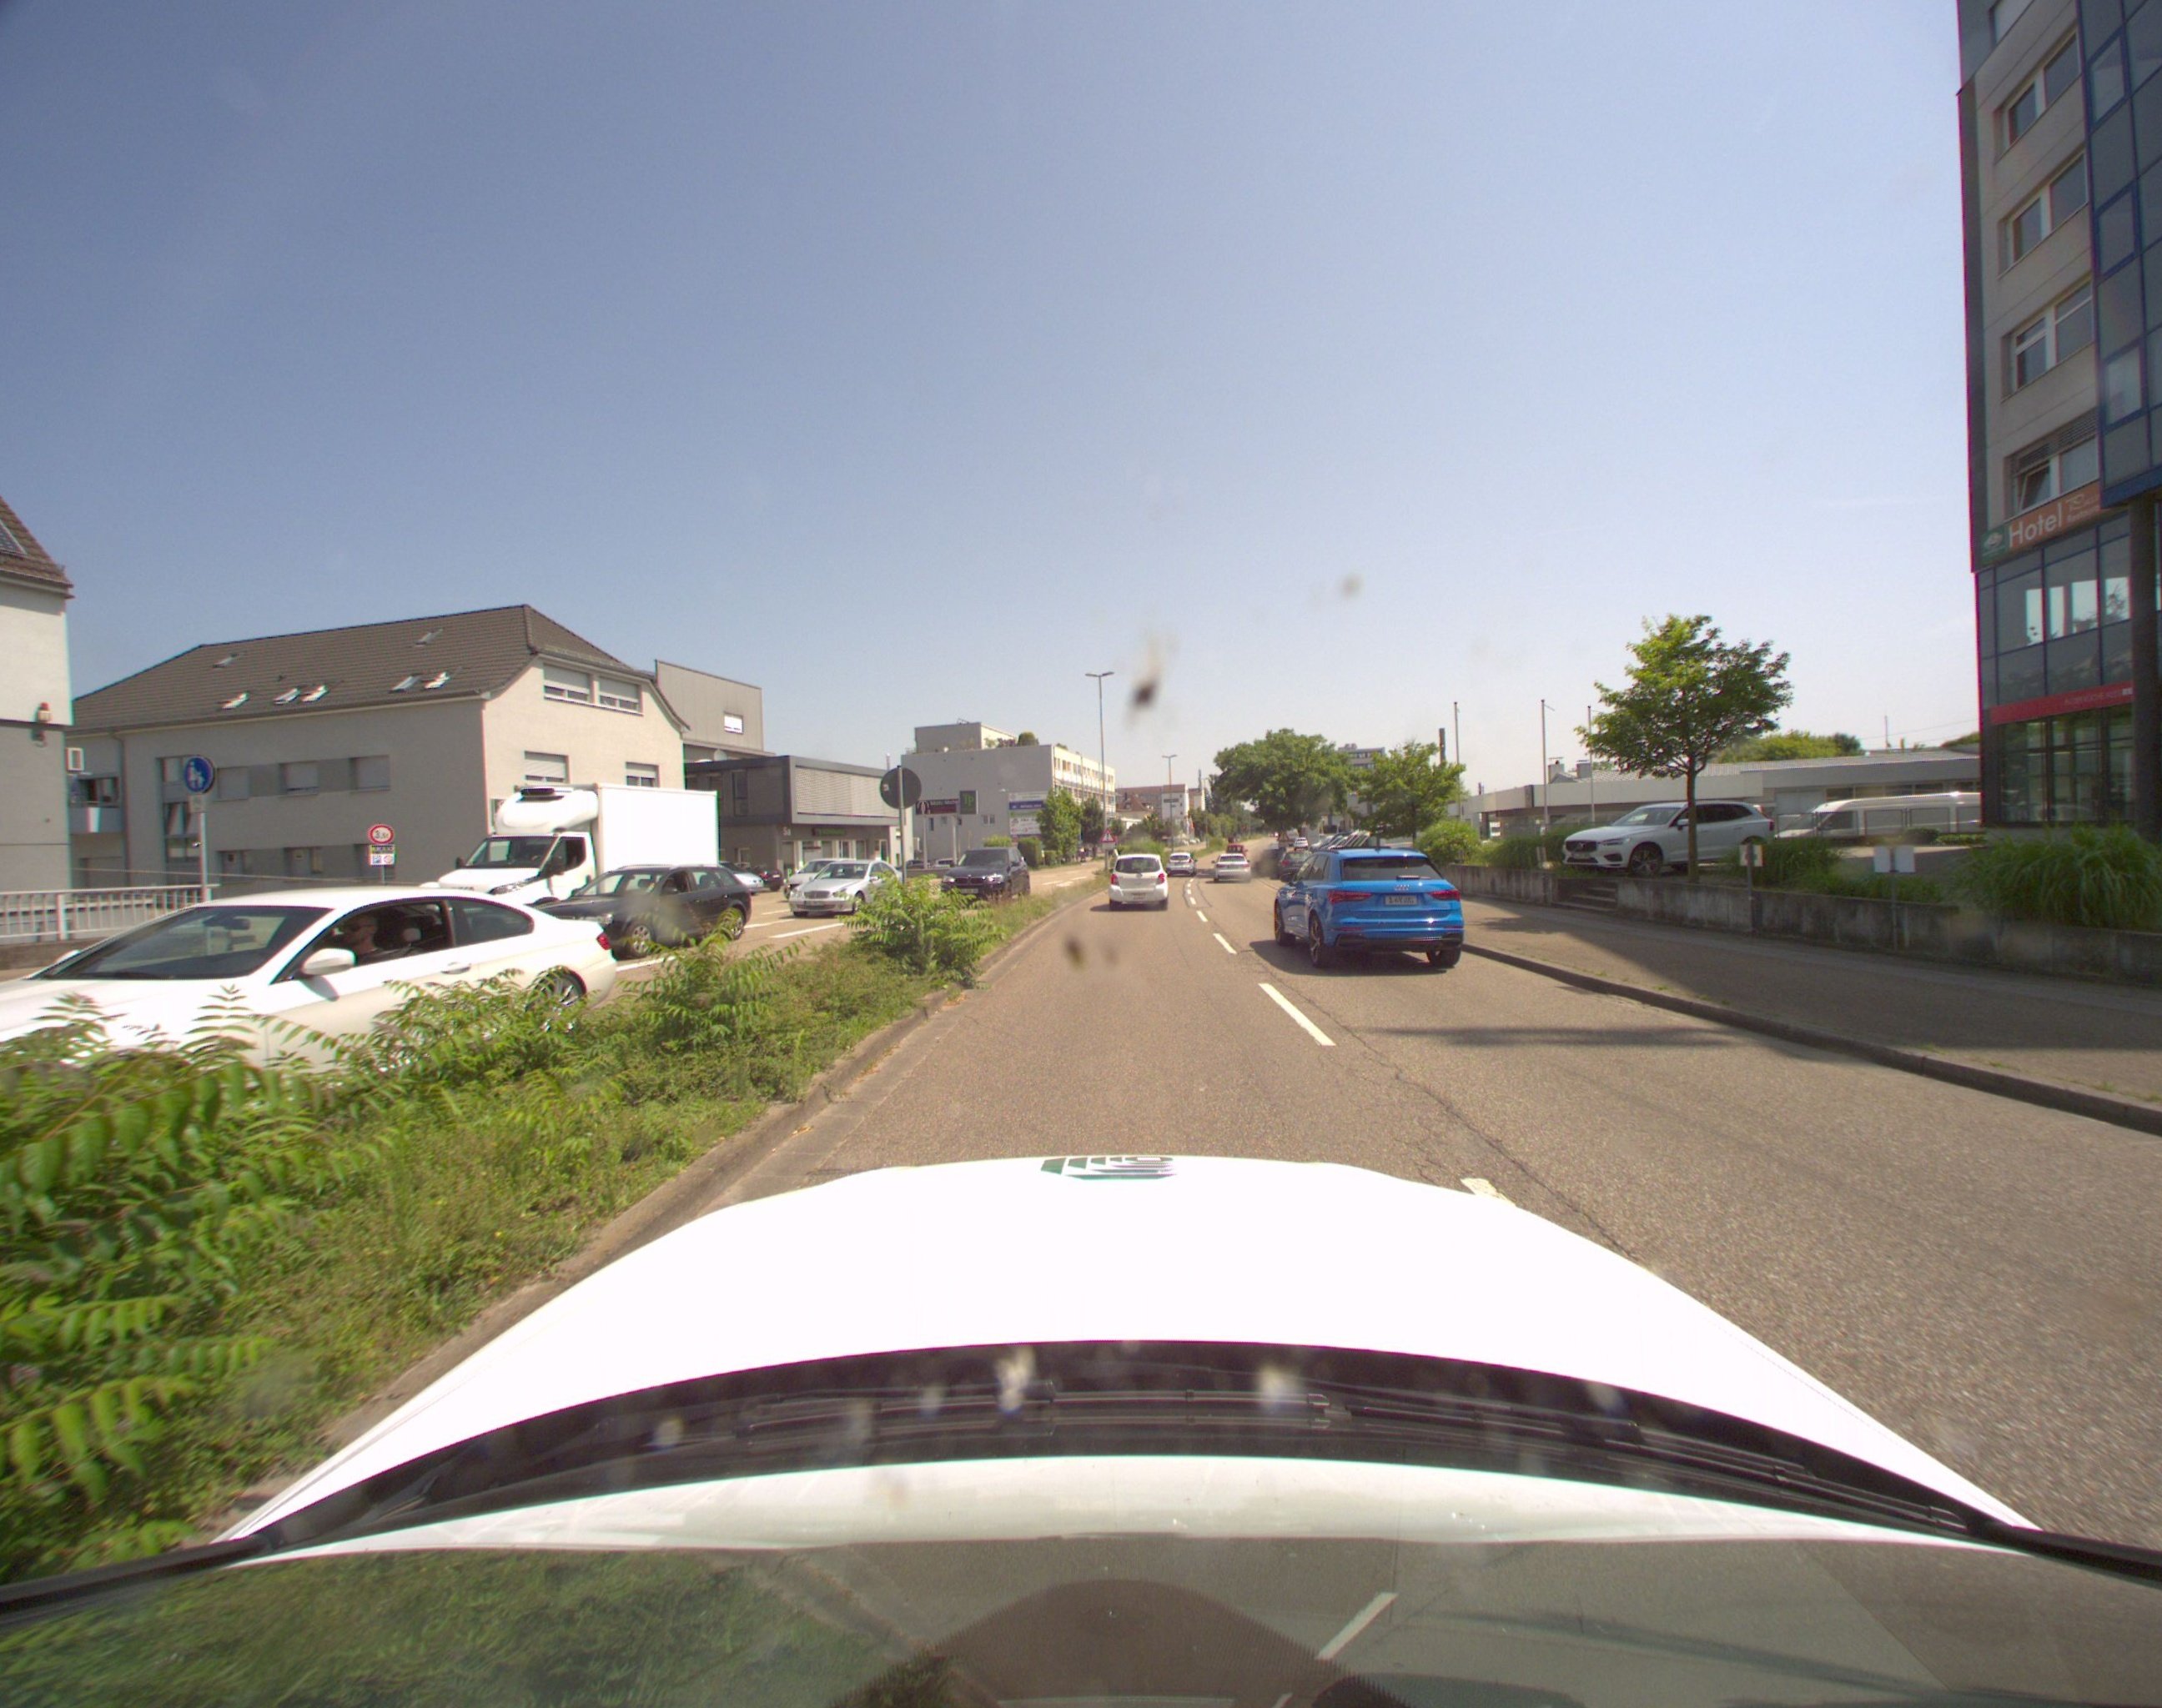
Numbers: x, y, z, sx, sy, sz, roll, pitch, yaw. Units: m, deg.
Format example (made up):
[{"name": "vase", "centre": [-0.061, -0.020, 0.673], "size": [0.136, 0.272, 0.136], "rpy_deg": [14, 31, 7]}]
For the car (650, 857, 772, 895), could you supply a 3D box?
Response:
[{"name": "car", "centre": [-16.315, 0.949, 36.012], "size": [4.583, 1.496, 1.755], "rpy_deg": [2, 1, 5]}]

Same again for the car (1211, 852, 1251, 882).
[{"name": "car", "centre": [7.390, 0.613, 40.396], "size": [1.659, 1.399, 3.799], "rpy_deg": [-1, 0, 6]}]

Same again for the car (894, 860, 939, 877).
[{"name": "car", "centre": [-16.601, 1.451, 82.404], "size": [3.949, 1.467, 1.969], "rpy_deg": [-2, 1, 8]}]

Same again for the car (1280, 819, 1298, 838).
[{"name": "car", "centre": [35.143, -4.331, 137.767], "size": [2.120, 2.839, 7.331], "rpy_deg": [-8, -1, 10]}]

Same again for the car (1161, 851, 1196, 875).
[{"name": "car", "centre": [5.960, 0.543, 50.355], "size": [1.823, 1.450, 4.002], "rpy_deg": [-1, 0, 2]}]

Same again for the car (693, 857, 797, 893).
[{"name": "car", "centre": [-15.888, 0.987, 38.598], "size": [4.031, 1.521, 2.006], "rpy_deg": [-2, 0, 10]}]

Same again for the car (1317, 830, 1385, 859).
[{"name": "car", "centre": [24.607, -0.838, 74.513], "size": [5.799, 2.524, 2.214], "rpy_deg": [-1, -1, 16]}]

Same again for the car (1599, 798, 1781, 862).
[{"name": "car", "centre": [25.820, -0.946, 34.810], "size": [5.840, 2.528, 2.129], "rpy_deg": [-1, -1, 16]}]

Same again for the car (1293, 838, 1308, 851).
[{"name": "car", "centre": [28.695, -1.232, 106.535], "size": [1.655, 1.596, 4.630], "rpy_deg": [-3, 1, 13]}]

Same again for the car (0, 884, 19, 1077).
[{"name": "car", "centre": [-8.768, 0.930, 3.764], "size": [1.855, 1.366, 4.351], "rpy_deg": [-2, 0, 4]}]

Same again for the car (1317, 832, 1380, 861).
[{"name": "car", "centre": [22.800, -0.626, 69.655], "size": [4.866, 2.114, 2.137], "rpy_deg": [-4, 1, 12]}]

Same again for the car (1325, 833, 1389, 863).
[{"name": "car", "centre": [21.704, -0.463, 64.228], "size": [4.477, 2.013, 2.206], "rpy_deg": [-5, -1, 14]}]

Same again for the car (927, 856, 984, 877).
[{"name": "car", "centre": [-9.711, 1.001, 63.112], "size": [3.964, 1.459, 1.579], "rpy_deg": [-2, -1, 8]}]

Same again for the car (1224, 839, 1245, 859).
[{"name": "car", "centre": [14.131, -0.449, 75.026], "size": [1.783, 1.729, 3.986], "rpy_deg": [-1, 0, 12]}]

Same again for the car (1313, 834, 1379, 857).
[{"name": "car", "centre": [25.131, -0.807, 77.366], "size": [5.851, 2.013, 2.268], "rpy_deg": [-1, 0, 14]}]

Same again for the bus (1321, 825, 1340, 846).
[{"name": "bus", "centre": [40.187, -3.044, 131.157], "size": [2.782, 3.078, 12.343], "rpy_deg": [-1, 2, 17]}]

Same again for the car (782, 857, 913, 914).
[{"name": "car", "centre": [-6.193, 0.796, 22.136], "size": [1.887, 1.361, 4.206], "rpy_deg": [-1, -1, 7]}]

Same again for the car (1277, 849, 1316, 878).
[{"name": "car", "centre": [11.315, 0.467, 42.969], "size": [1.785, 1.406, 4.335], "rpy_deg": [-1, 0, 12]}]

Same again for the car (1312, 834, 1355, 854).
[{"name": "car", "centre": [26.340, -1.064, 85.164], "size": [4.122, 1.781, 1.888], "rpy_deg": [-3, -2, 12]}]

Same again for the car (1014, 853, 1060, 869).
[{"name": "car", "centre": [-4.441, 0.713, 83.189], "size": [4.194, 1.349, 1.988], "rpy_deg": [-3, 1, 12]}]

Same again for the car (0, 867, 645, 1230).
[{"name": "car", "centre": [-5.269, 0.859, 5.446], "size": [1.854, 1.431, 4.750], "rpy_deg": [-1, 0, 4]}]

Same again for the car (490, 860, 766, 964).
[{"name": "car", "centre": [-7.412, 0.852, 13.984], "size": [1.792, 1.439, 4.584], "rpy_deg": [-1, 0, 6]}]

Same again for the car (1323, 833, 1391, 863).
[{"name": "car", "centre": [22.669, -0.504, 67.165], "size": [5.029, 2.097, 2.048], "rpy_deg": [-4, 0, 13]}]

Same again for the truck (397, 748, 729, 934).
[{"name": "truck", "centre": [-11.132, -0.192, 18.580], "size": [2.251, 3.418, 7.056], "rpy_deg": [-1, -1, 9]}]

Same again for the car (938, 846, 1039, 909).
[{"name": "car", "centre": [-2.698, 0.683, 25.062], "size": [1.898, 1.751, 4.771], "rpy_deg": [-1, -1, 8]}]

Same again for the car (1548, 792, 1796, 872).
[{"name": "car", "centre": [13.587, -0.474, 18.811], "size": [4.728, 1.714, 1.992], "rpy_deg": [0, -1, -12]}]

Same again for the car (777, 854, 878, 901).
[{"name": "car", "centre": [-9.123, 0.824, 29.706], "size": [1.887, 1.566, 4.206], "rpy_deg": [-1, -1, 7]}]

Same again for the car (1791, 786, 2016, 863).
[{"name": "car", "centre": [32.425, -1.087, 32.338], "size": [6.071, 2.810, 2.008], "rpy_deg": [-1, -1, 15]}]

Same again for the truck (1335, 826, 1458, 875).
[{"name": "truck", "centre": [17.701, -0.208, 46.056], "size": [6.199, 2.336, 2.378], "rpy_deg": [-3, 1, 14]}]

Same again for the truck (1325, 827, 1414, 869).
[{"name": "truck", "centre": [18.822, -0.410, 53.405], "size": [5.208, 2.435, 2.120], "rpy_deg": [-3, 0, 15]}]

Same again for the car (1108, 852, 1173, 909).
[{"name": "car", "centre": [1.638, 0.725, 23.330], "size": [1.706, 1.511, 3.247], "rpy_deg": [-1, -1, 1]}]

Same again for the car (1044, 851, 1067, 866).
[{"name": "car", "centre": [-2.995, 0.542, 94.828], "size": [1.648, 1.467, 3.812], "rpy_deg": [-4, 0, 13]}]

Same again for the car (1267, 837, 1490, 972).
[{"name": "car", "centre": [4.077, 0.597, 12.000], "size": [1.905, 1.597, 4.400], "rpy_deg": [-1, 0, 3]}]

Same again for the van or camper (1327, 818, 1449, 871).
[{"name": "van or camper", "centre": [18.898, -0.602, 50.460], "size": [6.750, 2.897, 2.284], "rpy_deg": [-3, 1, 13]}]

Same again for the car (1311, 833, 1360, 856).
[{"name": "car", "centre": [26.623, -1.005, 85.386], "size": [4.609, 2.013, 1.967], "rpy_deg": [-4, 1, 11]}]
